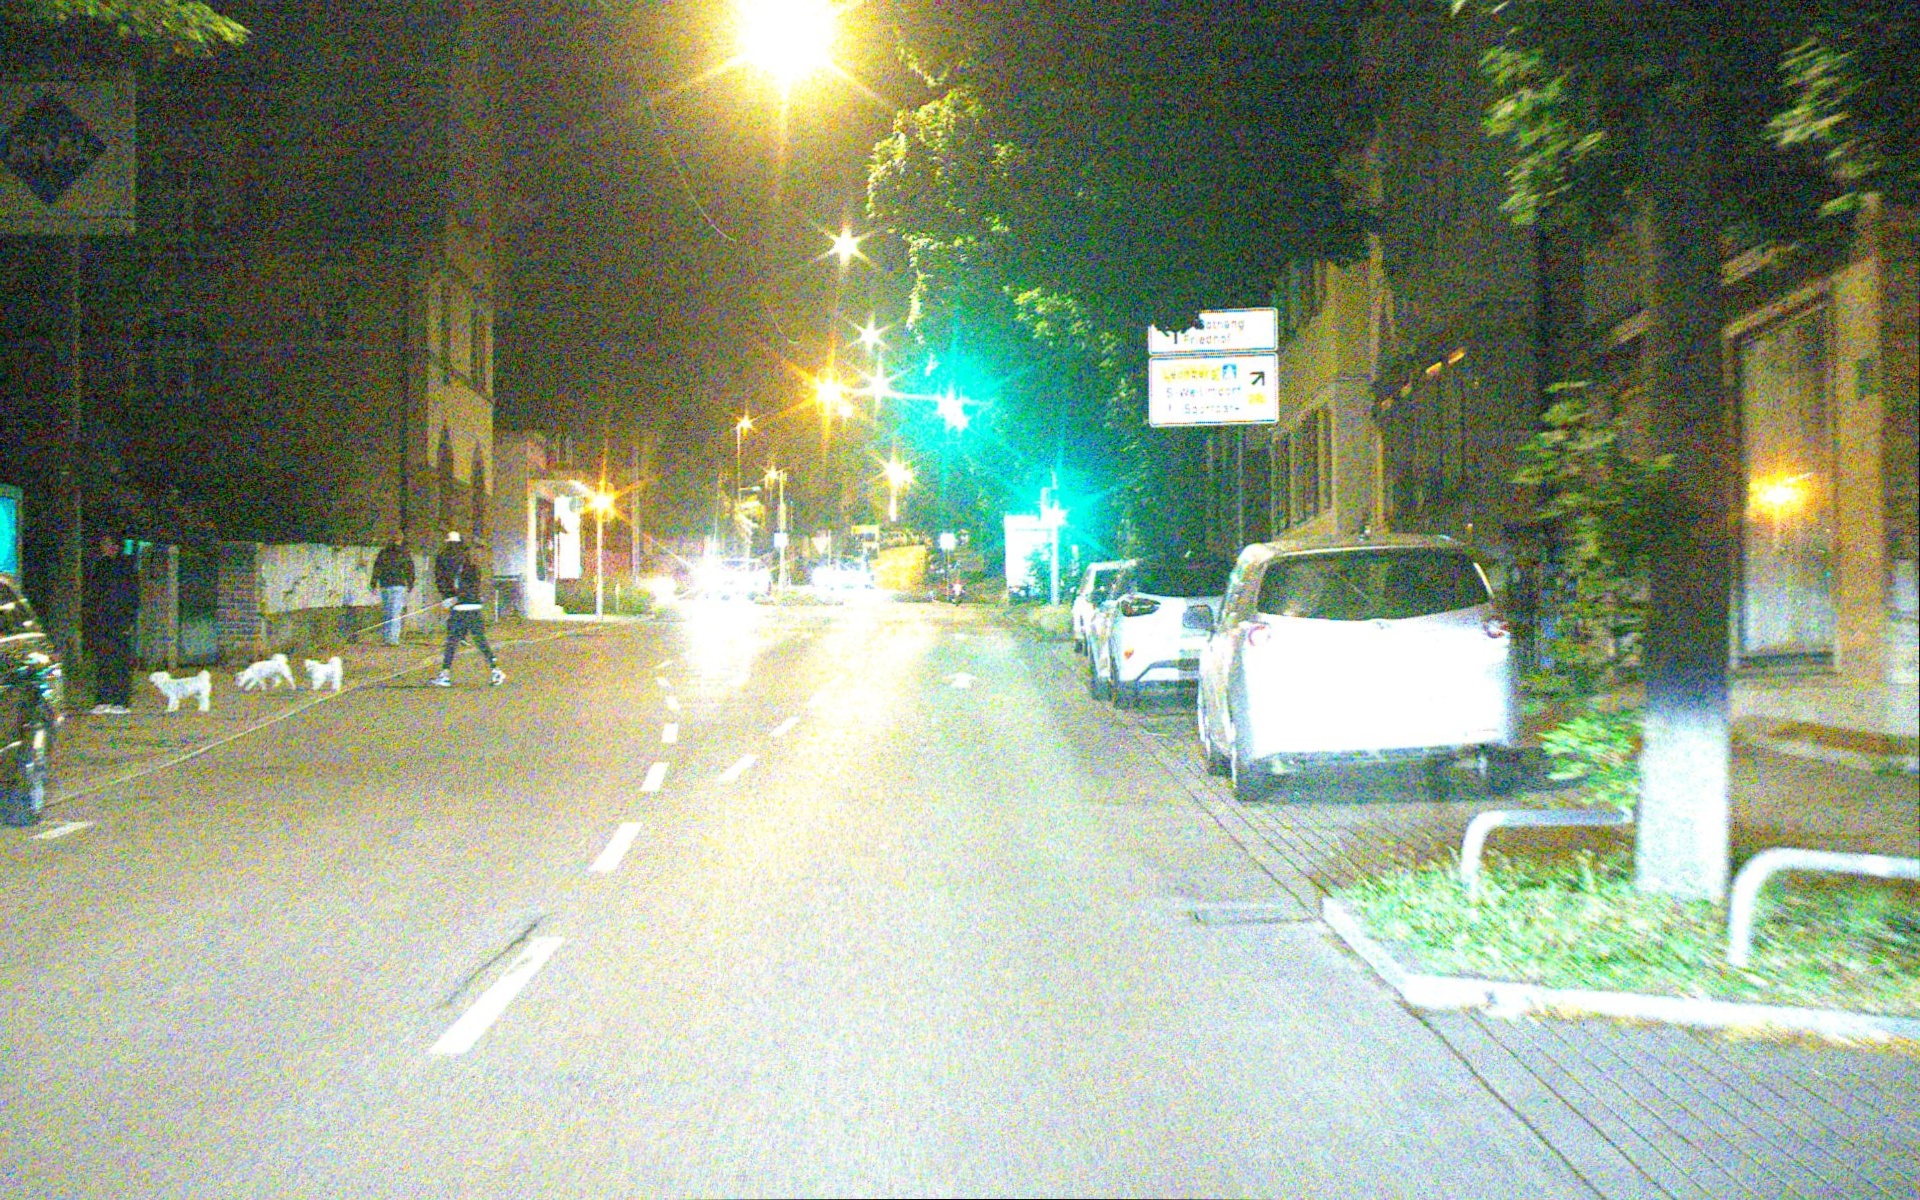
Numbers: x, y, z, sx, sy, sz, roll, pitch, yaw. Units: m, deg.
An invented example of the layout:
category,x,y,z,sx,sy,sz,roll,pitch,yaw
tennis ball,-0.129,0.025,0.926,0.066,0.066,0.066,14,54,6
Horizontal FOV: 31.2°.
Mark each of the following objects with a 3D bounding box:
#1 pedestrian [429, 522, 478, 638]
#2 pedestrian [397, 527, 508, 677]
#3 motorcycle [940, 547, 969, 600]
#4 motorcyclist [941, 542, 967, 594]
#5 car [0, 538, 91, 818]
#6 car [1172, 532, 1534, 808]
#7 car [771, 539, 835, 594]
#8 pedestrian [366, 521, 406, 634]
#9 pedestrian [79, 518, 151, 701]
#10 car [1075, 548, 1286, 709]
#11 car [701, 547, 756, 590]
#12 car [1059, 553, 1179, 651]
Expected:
category,x,y,z,sx,sy,sz,roll,pitch,yaw
pedestrian,-7.760,-0.307,52.668,0.718,1.759,0.603,1,0,-9
pedestrian,-5.916,0.024,40.092,0.766,1.694,0.925,4,1,37
motorcycle,-0.190,-0.889,116.740,0.931,1.746,2.625,1,0,0
motorcyclist,-0.190,-1.092,116.747,0.848,1.746,0.805,1,0,0
car,-5.833,0.410,17.548,1.721,1.432,4.811,1,1,-2
car,2.457,0.376,22.479,1.812,1.588,4.274,-1,1,0
car,-5.179,-1.092,113.831,1.944,1.711,4.000,1,0,0
pedestrian,-8.748,-0.340,52.400,0.569,1.694,0.930,1,0,-10
pedestrian,-7.928,0.089,32.274,0.580,1.694,0.531,1,0,-9
car,2.237,0.253,35.829,1.868,1.521,4.150,-1,1,0
car,-8.289,-1.118,123.421,1.715,1.452,3.922,1,0,0
car,2.528,0.010,55.197,1.629,1.491,3.415,1,1,-2
